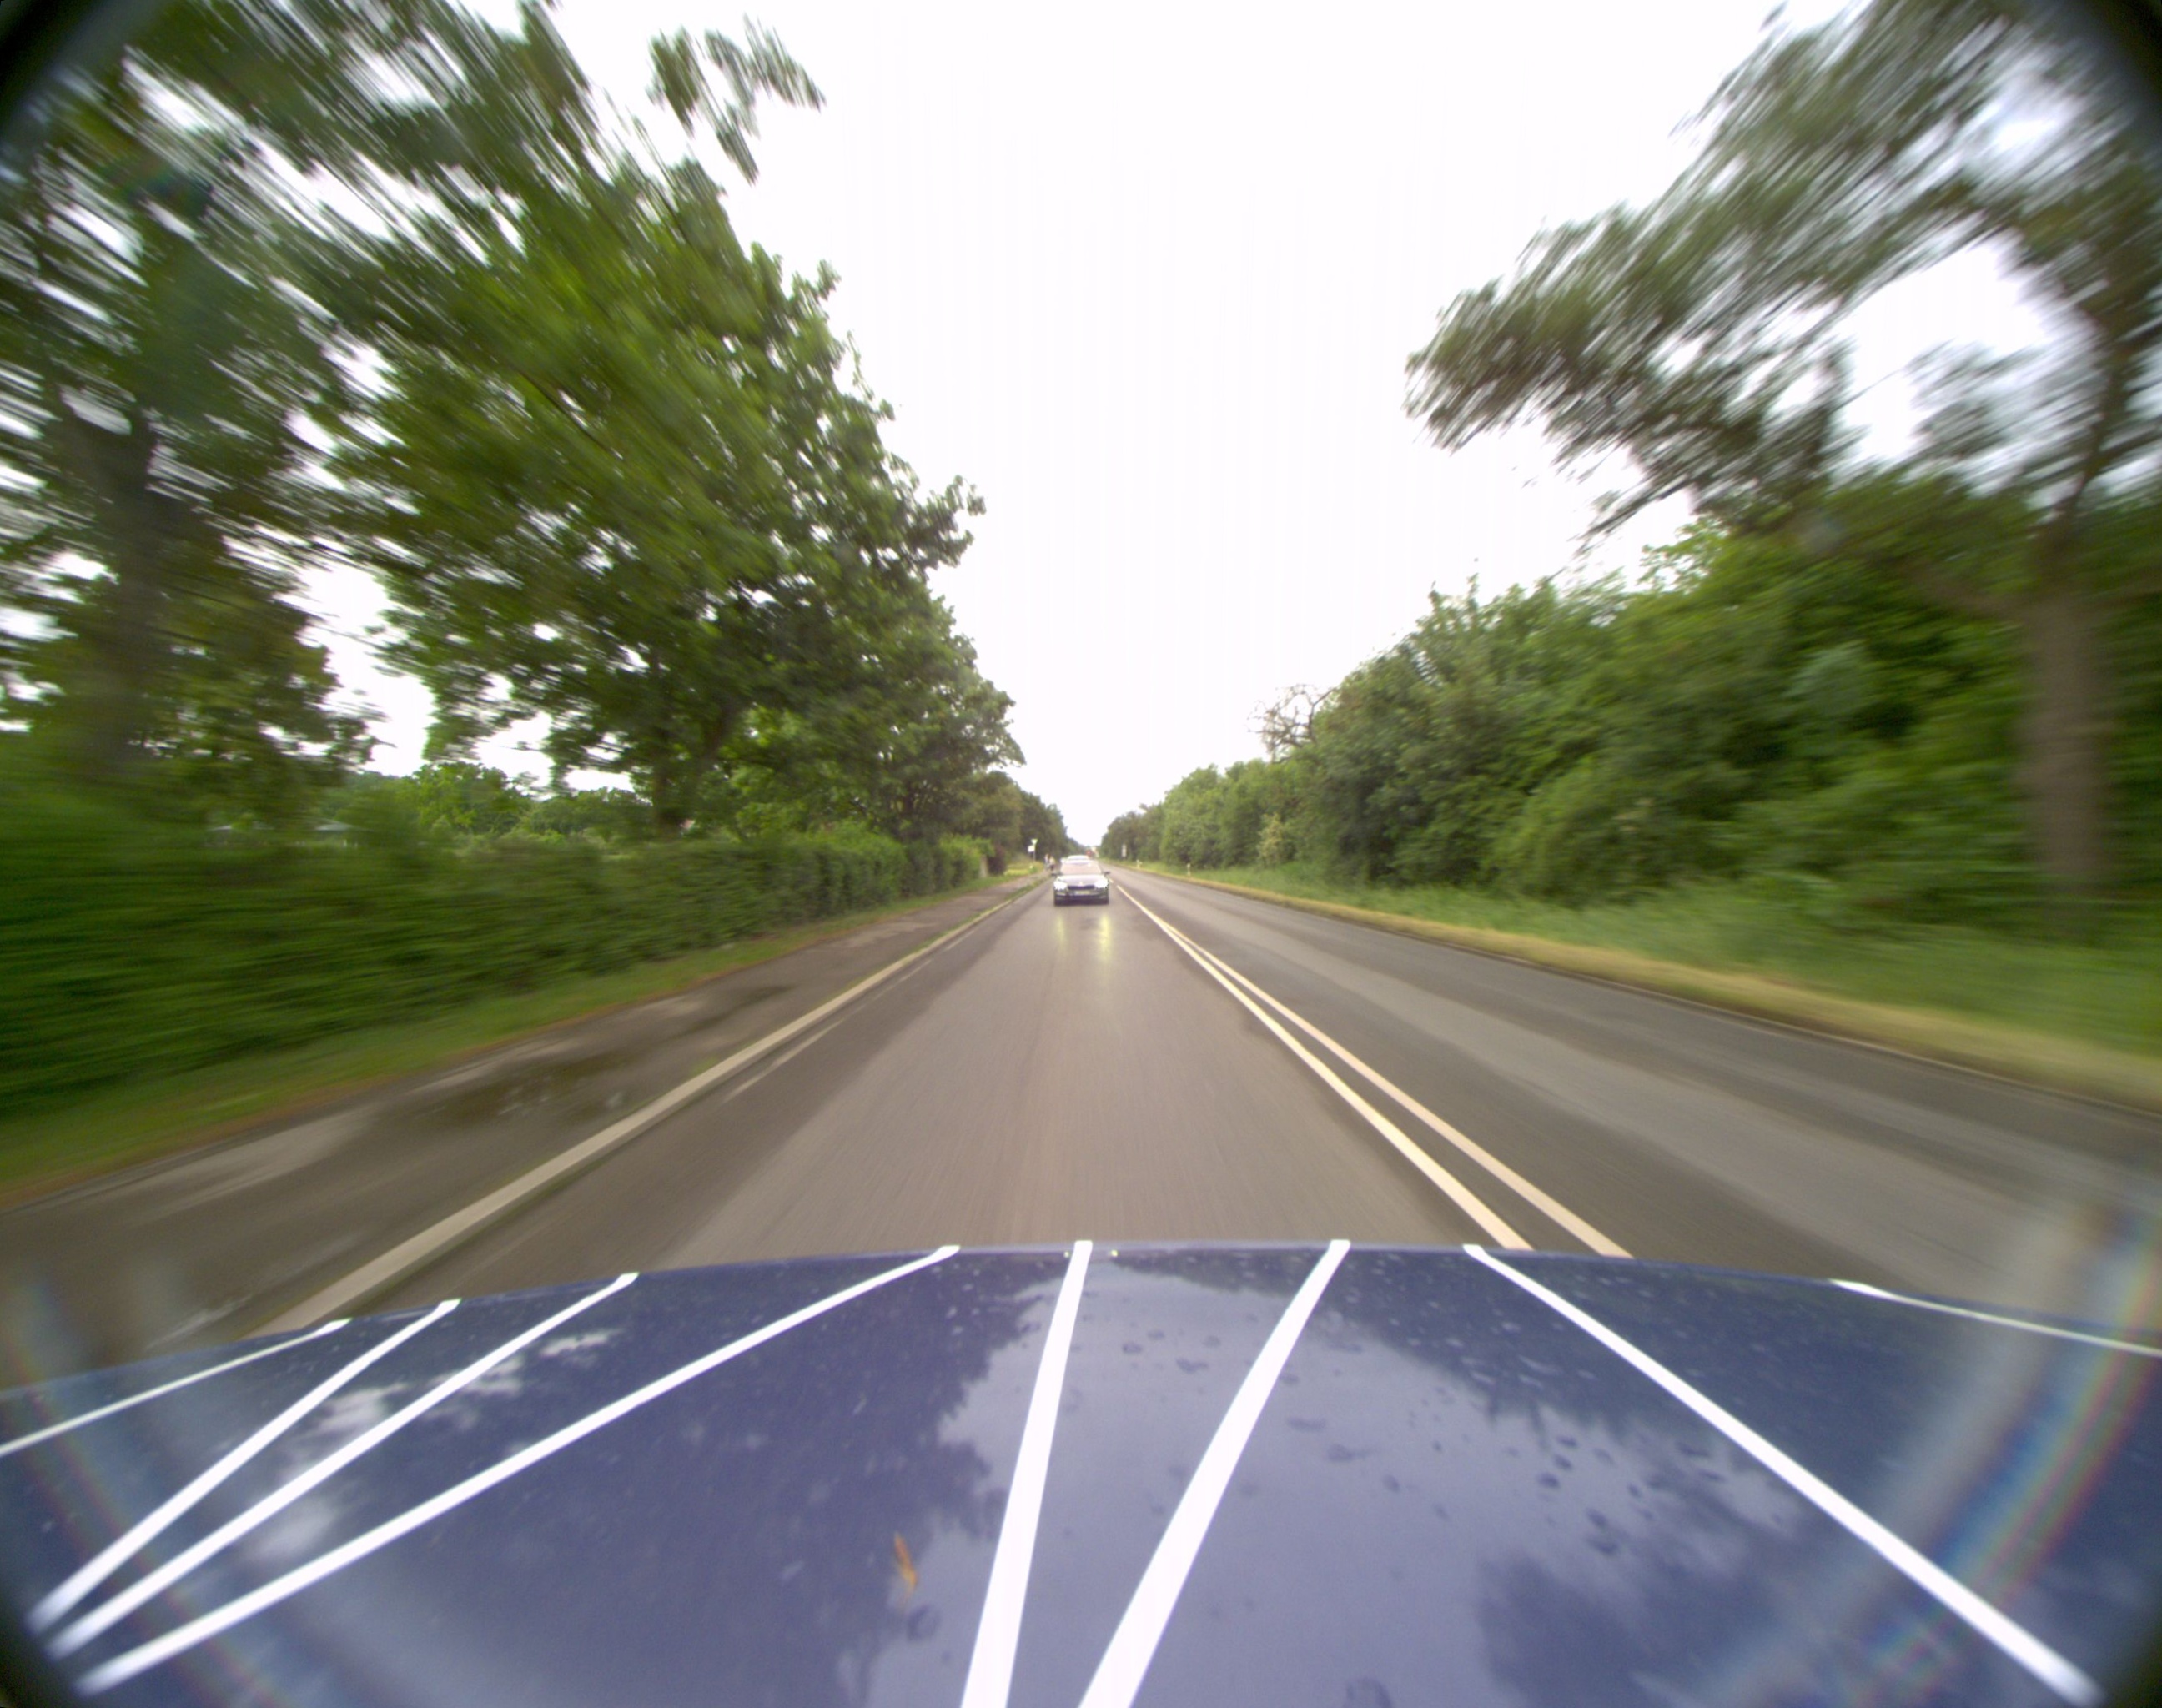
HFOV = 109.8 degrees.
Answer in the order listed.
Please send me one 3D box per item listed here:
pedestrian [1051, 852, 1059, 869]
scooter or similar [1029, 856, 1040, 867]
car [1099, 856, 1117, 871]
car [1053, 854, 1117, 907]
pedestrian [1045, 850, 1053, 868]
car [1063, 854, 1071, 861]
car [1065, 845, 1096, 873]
[{"bbox_3d":[-2.684,0.683,78.034,0.663,1.768,0.759,-1,1,-17],"label":"pedestrian"},{"bbox_3d":[-5.316,0.857,86.198,1.324,1.199,0.375,0,1,41],"label":"scooter or similar"},{"bbox_3d":[3.039,1.018,85.617,1.887,1.543,3.475,-3,1,0],"label":"car"},{"bbox_3d":[0.124,0.829,25.929,1.915,1.543,4.354,-3,1,0],"label":"car"},{"bbox_3d":[-3.228,0.504,76.950,0.696,1.817,0.800,-1,1,-16],"label":"pedestrian"},{"bbox_3d":[-3.226,0.828,175.628,1.749,1.460,4.219,0,1,-1],"label":"car"},{"bbox_3d":[-0.033,0.294,49.810,1.915,1.690,3.913,-3,1,0],"label":"car"}]
